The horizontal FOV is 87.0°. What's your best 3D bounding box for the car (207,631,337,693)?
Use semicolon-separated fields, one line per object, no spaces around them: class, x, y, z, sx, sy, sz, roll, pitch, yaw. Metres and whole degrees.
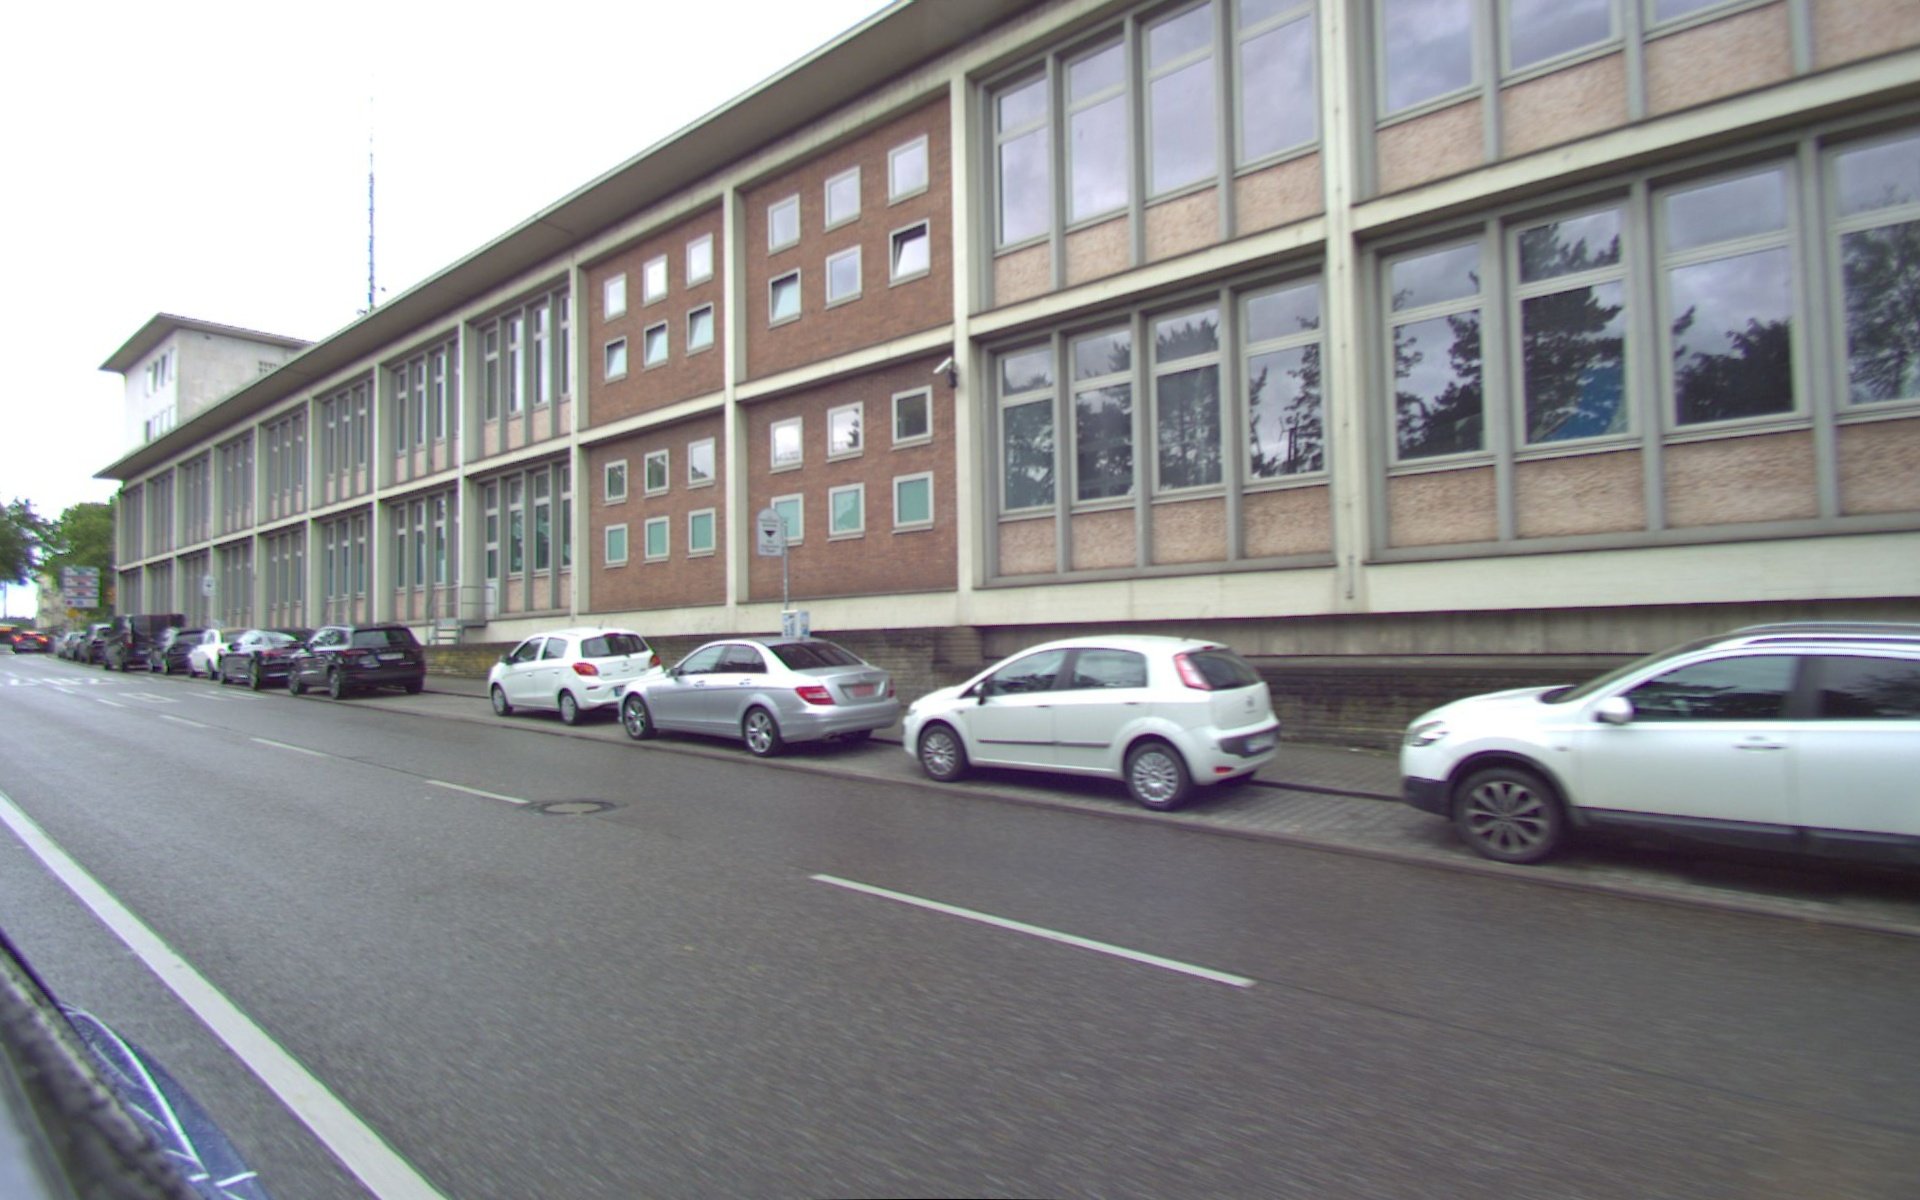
car;-18.403;1.602;26.983;4.909;1.495;1.796;-2;-3;43

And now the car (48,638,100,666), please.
car;-44.352;2.584;50.617;4.095;1.307;1.672;-2;-2;45

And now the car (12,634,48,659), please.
car;-66.793;3.319;72.676;1.800;1.673;4.341;2;-2;-43

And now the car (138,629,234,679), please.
car;-25.971;1.785;33.902;4.312;1.564;1.840;-2;-3;43

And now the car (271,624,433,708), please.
car;-13.944;1.421;23.112;4.512;1.666;1.822;-1;0;40

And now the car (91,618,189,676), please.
car;-30.101;1.684;37.111;4.993;1.958;1.929;-2;-2;41

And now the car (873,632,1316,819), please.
car;1.217;1.090;10.275;4.177;1.465;1.730;-2;0;40

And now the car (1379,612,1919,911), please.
car;5.240;0.913;6.740;4.179;1.610;1.730;-2;0;41

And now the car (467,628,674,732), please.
car;-6.706;1.264;17.251;3.918;1.534;1.662;-1;-1;41

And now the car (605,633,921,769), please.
car;-2.764;1.210;13.579;4.482;1.446;1.730;-1;0;40

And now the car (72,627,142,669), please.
car;-36.455;2.013;43.225;4.604;1.688;1.777;-2;-2;44

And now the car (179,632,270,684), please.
car;-22.349;1.729;30.720;3.552;1.495;1.549;-2;-3;43

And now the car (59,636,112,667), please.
car;-40.513;2.370;46.842;4.112;1.364;1.525;-3;-3;45
